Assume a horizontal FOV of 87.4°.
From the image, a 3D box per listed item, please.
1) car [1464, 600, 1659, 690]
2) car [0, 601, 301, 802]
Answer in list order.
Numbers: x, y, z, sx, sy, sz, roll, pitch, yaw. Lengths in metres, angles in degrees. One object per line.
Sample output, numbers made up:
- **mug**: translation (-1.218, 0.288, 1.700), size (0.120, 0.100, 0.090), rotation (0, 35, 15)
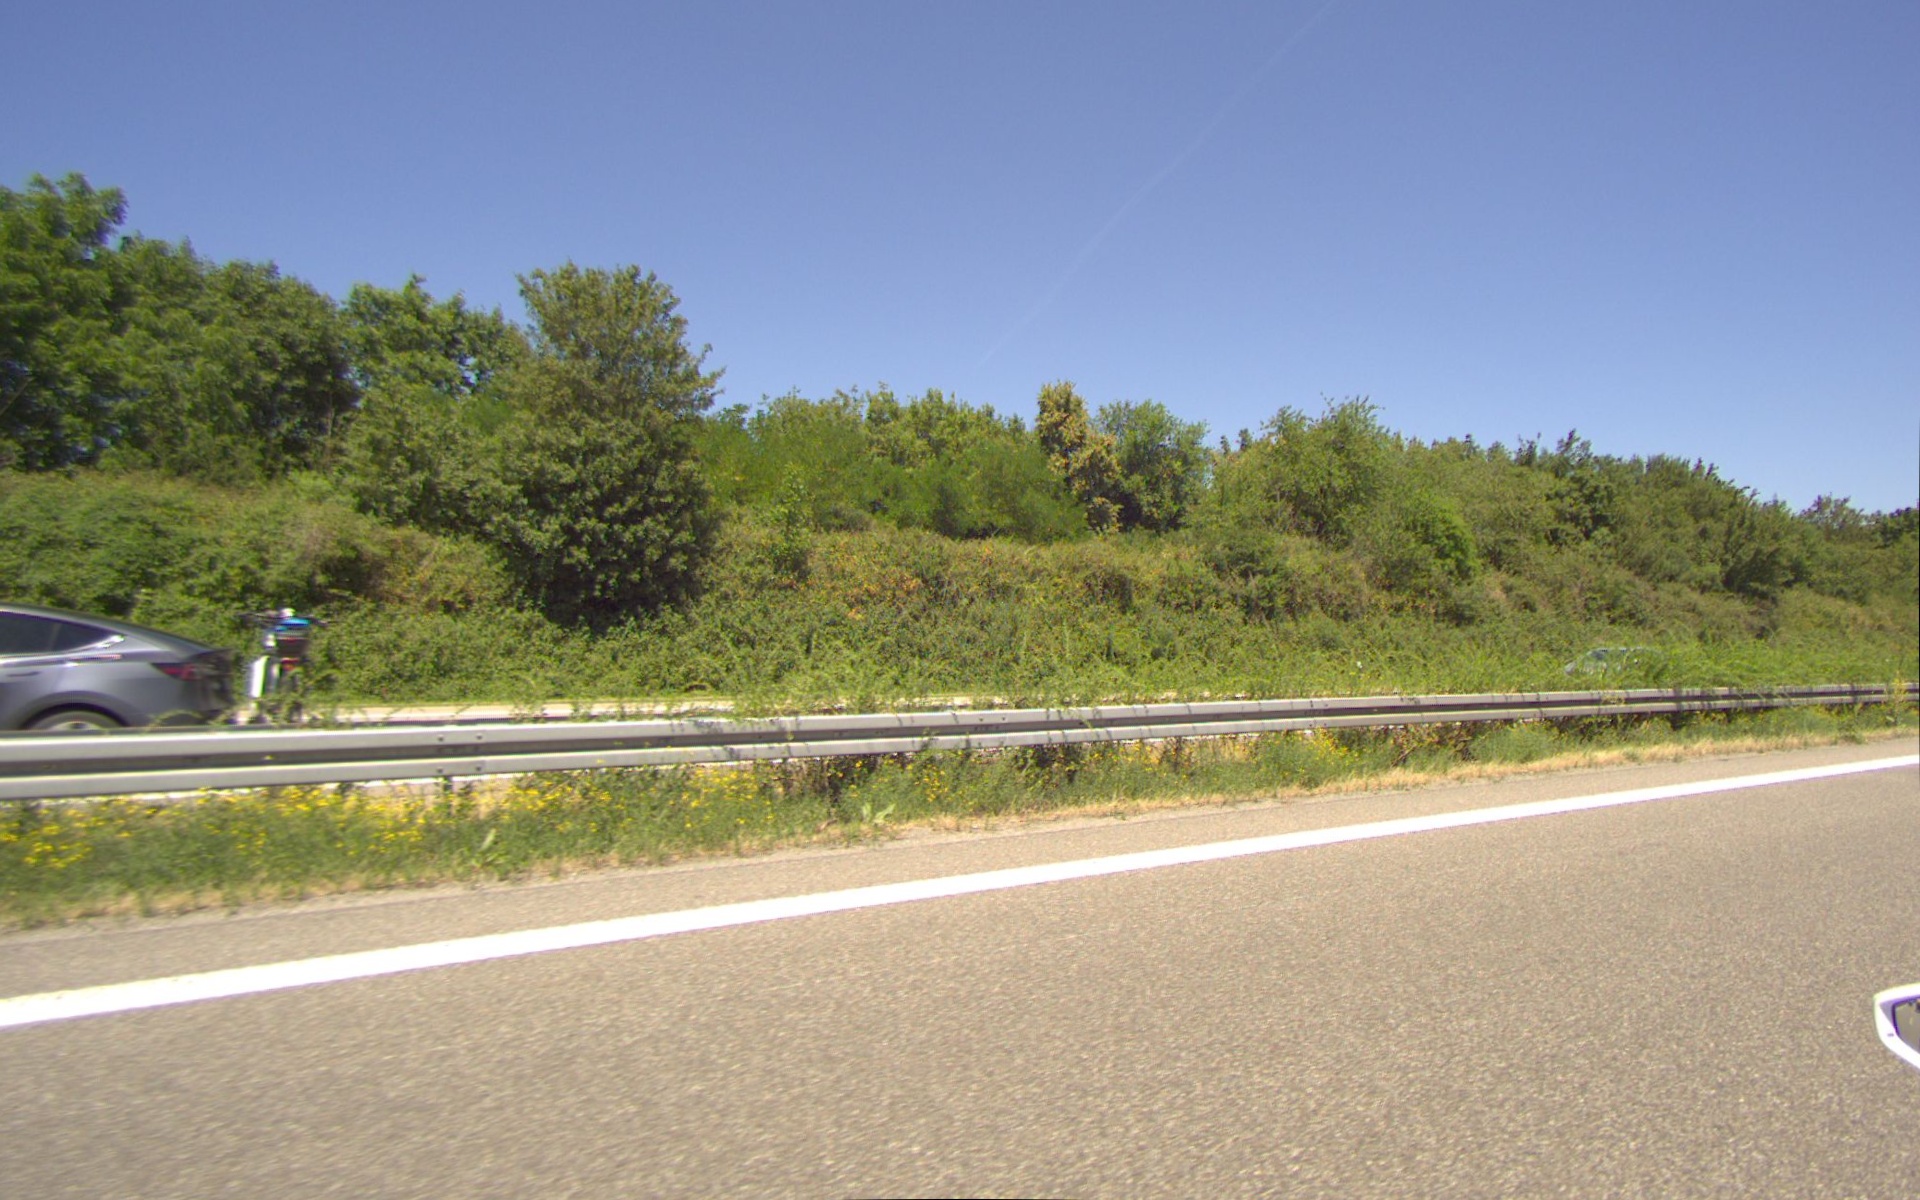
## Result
- **car**: translation (14.821, 1.094, 24.692), size (4.985, 2.030, 1.984), rotation (2, -2, -30)
- **car**: translation (-8.631, 0.808, 8.468), size (4.985, 1.587, 1.984), rotation (2, -2, -30)
